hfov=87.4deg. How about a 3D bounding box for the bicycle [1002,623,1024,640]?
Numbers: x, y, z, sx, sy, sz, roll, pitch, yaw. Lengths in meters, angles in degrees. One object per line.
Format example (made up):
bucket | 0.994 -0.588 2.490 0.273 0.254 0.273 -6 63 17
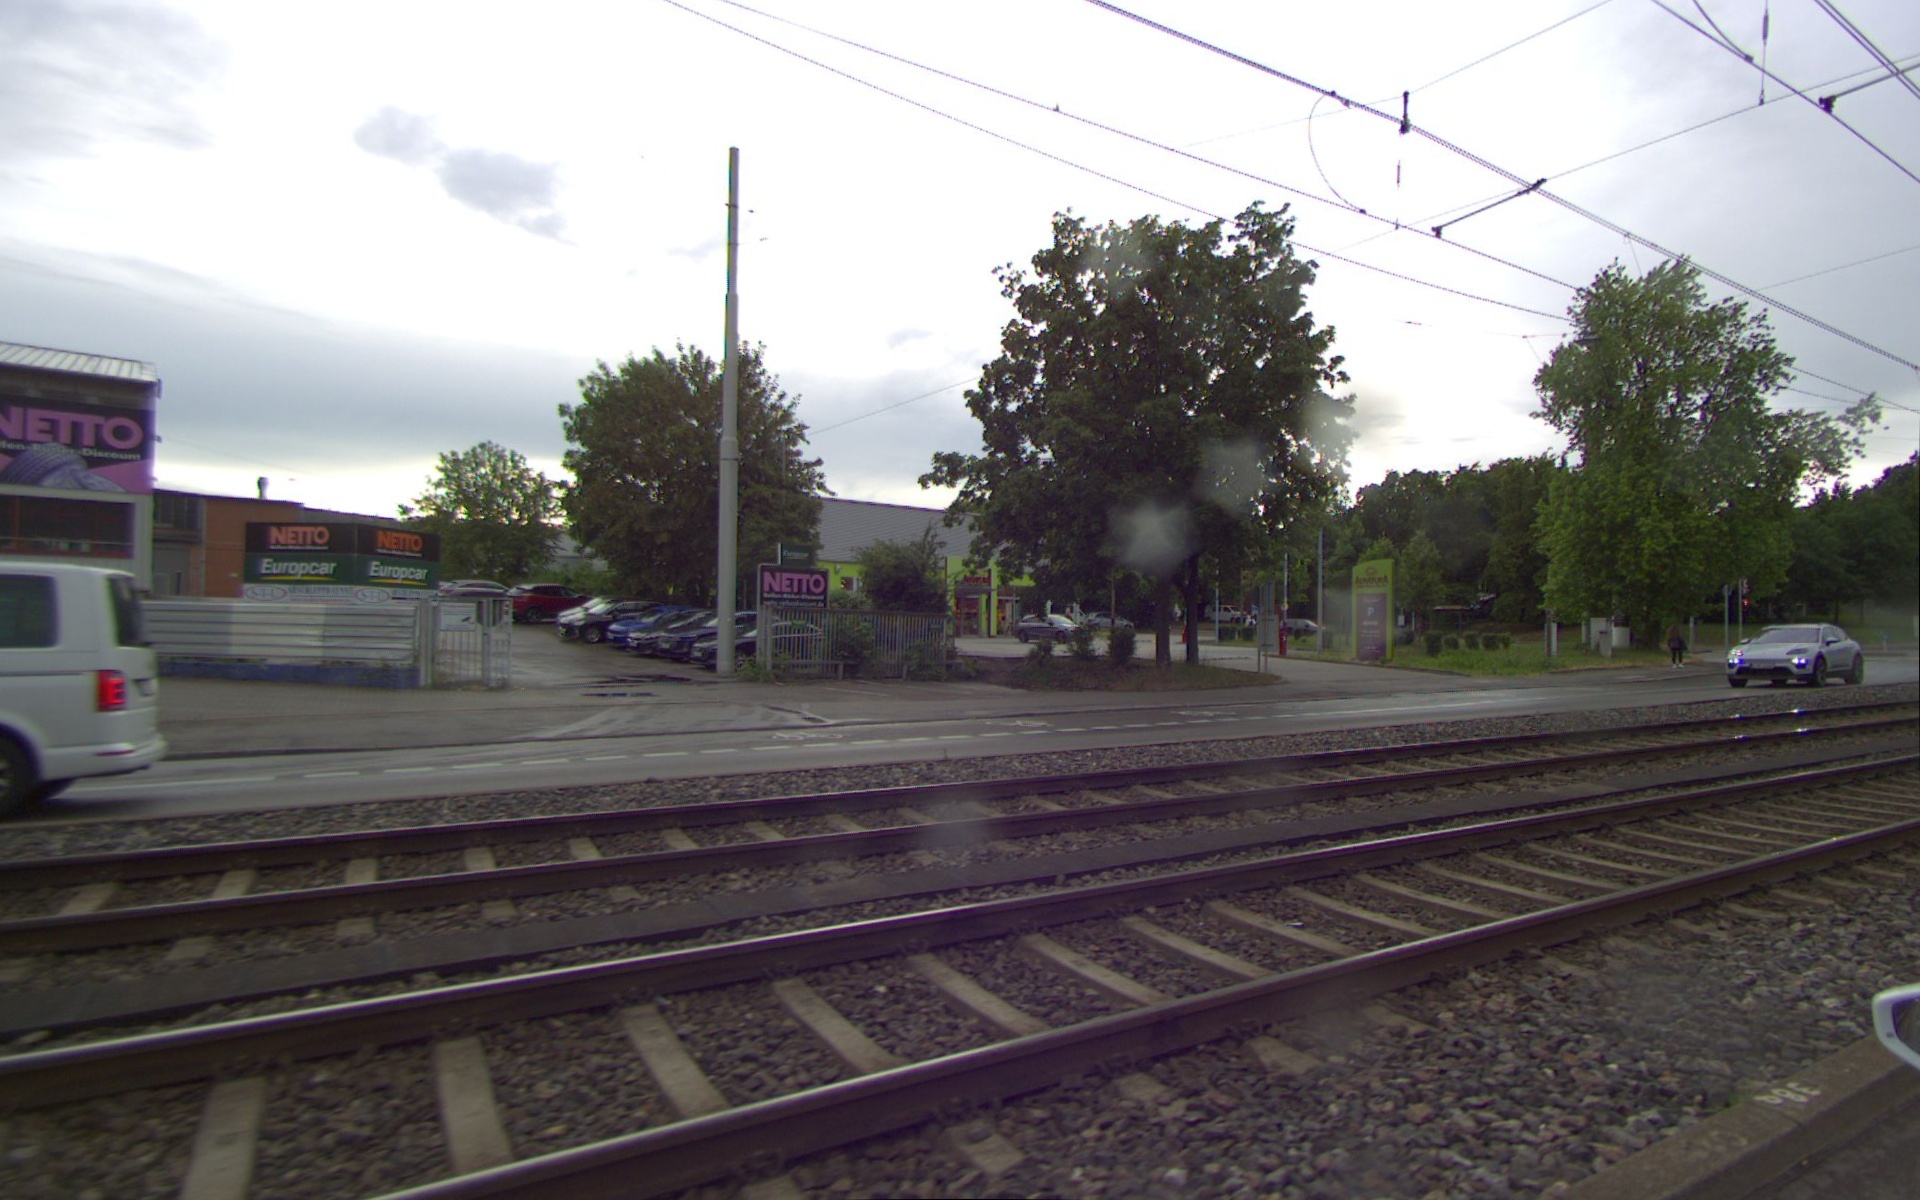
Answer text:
bicycle | 3.394 2.012 64.395 0.529 0.995 1.597 0 0 -38

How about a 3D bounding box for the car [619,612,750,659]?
car | -9.446 1.244 34.600 3.966 1.476 1.673 3 -1 -39

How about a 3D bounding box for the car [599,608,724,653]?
car | -10.770 1.109 36.391 3.966 1.476 1.673 3 -1 -39

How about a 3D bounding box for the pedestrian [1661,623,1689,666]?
pedestrian | 26.139 1.627 36.737 0.661 1.552 0.588 3 0 -31

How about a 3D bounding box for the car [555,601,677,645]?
car | -12.801 0.879 37.493 3.966 1.476 1.673 3 -1 -39

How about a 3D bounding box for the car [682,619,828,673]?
car | -6.151 1.394 30.291 3.966 1.476 1.673 3 -1 -39

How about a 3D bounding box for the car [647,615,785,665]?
car | -7.861 1.315 32.547 3.966 1.476 1.673 3 -1 -39

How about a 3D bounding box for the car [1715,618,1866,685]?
car | 22.533 1.371 27.193 4.713 1.671 1.981 1 -3 -36

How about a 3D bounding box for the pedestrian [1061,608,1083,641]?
pedestrian | 5.782 1.267 51.685 0.750 1.618 0.798 3 0 -30

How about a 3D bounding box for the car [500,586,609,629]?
car | -17.308 0.335 42.933 3.966 1.639 1.673 3 -1 -39

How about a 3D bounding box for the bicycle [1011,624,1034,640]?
bicycle | 4.036 2.049 64.928 0.529 0.995 1.597 0 0 -38

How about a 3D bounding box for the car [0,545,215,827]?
car | -8.705 0.648 7.370 5.004 2.040 1.983 1 -4 -32

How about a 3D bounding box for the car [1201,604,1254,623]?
car | 27.660 1.363 103.998 1.981 1.829 5.095 3 -1 -35

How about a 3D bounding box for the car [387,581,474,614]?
car | -29.510 -0.140 56.025 3.967 1.633 1.850 3 -1 -40

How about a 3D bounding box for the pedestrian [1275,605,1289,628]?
pedestrian | 23.238 1.217 72.526 0.598 1.623 0.674 3 0 -24

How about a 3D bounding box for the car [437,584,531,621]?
car | -23.798 0.129 50.280 3.966 1.639 1.673 3 -1 -39

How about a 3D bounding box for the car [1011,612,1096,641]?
car | 4.613 1.309 50.036 1.759 1.363 4.332 2 -1 -37

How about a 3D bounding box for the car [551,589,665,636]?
car | -14.116 0.516 40.338 3.966 1.673 1.673 3 -1 -39
